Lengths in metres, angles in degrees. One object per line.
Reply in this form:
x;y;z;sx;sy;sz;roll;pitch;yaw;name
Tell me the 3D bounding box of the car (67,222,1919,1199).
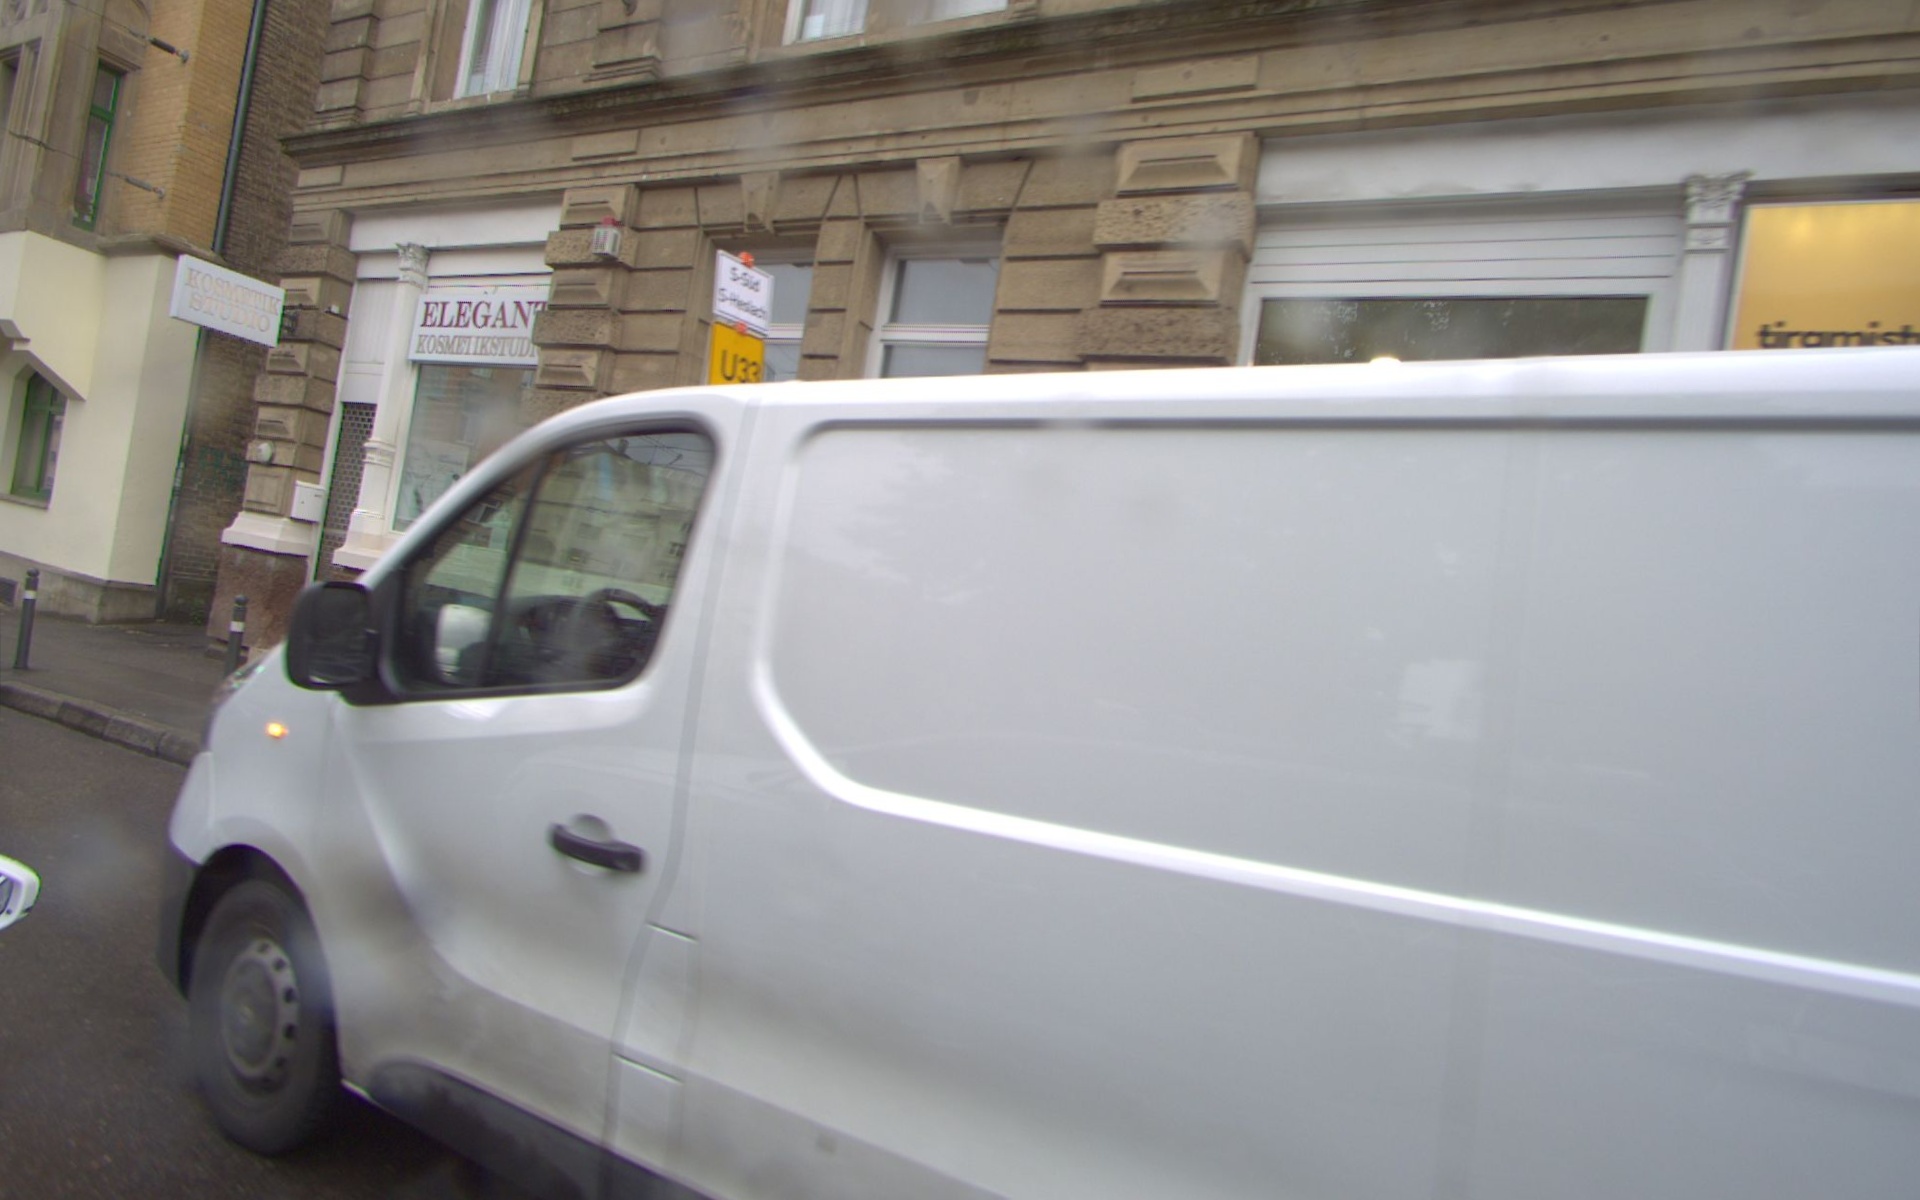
0.115;0.571;2.499;4.605;1.958;1.926;6;-2;29;car
